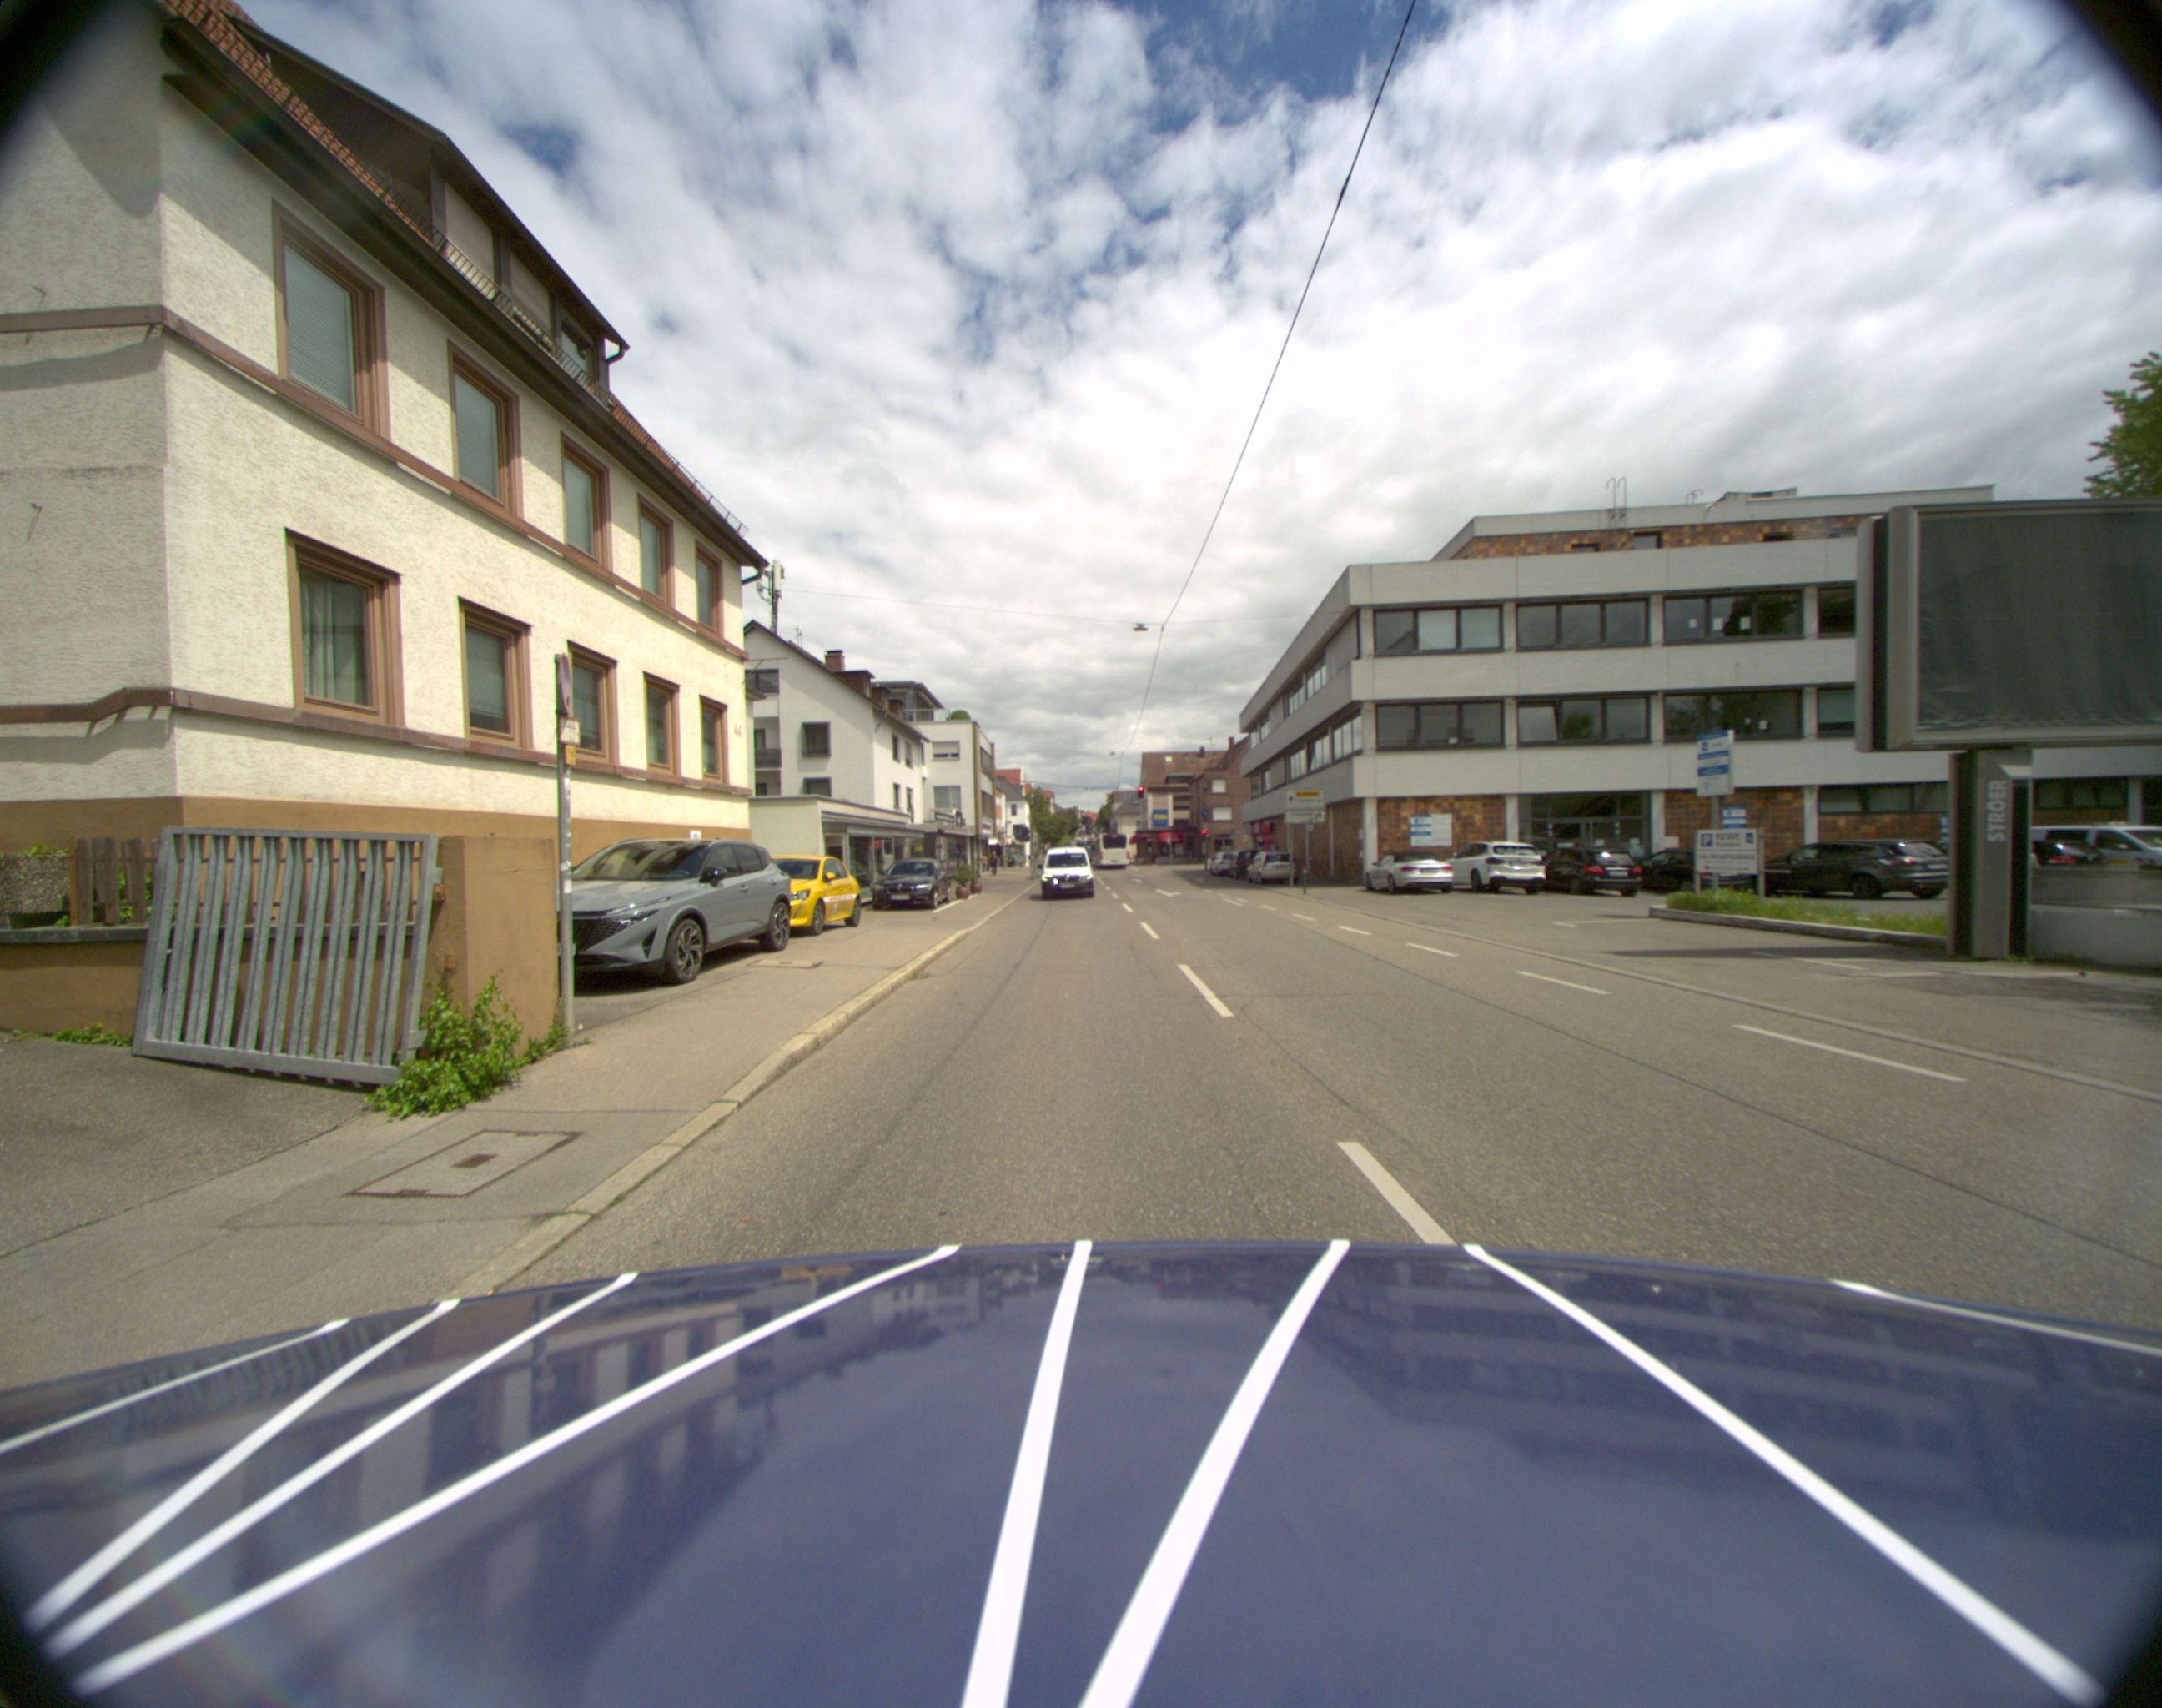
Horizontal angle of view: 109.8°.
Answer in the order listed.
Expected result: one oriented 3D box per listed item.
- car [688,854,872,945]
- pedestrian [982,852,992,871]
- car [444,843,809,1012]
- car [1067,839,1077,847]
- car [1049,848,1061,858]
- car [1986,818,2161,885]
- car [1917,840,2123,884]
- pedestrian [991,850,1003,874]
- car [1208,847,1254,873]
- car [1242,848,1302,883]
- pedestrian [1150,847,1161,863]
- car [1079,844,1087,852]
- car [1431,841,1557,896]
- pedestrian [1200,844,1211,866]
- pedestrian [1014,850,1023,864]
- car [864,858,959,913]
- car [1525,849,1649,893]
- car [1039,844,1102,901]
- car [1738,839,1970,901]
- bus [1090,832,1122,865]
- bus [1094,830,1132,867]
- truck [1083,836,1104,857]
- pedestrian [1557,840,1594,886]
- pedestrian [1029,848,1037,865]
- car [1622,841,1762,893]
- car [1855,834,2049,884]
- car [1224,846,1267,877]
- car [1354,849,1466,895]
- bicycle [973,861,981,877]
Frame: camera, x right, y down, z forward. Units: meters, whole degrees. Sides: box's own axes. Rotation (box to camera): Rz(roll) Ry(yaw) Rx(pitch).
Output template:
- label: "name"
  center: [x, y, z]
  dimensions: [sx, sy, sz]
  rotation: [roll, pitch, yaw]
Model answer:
- label: "car"
  center: [-5.405, 0.794, 14.316]
  dimensions: [1.882, 1.438, 4.307]
  rotation: [-1, -2, -2]
- label: "pedestrian"
  center: [-7.471, 0.561, 60.479]
  dimensions: [0.681, 1.490, 0.720]
  rotation: [-1, 1, 0]
- label: "car"
  center: [-5.143, 0.695, 9.527]
  dimensions: [1.865, 1.602, 4.585]
  rotation: [0, 0, -1]
- label: "car"
  center: [-2.142, -2.637, 181.005]
  dimensions: [2.150, 1.747, 3.973]
  rotation: [-1, 0, 0]
- label: "car"
  center: [-4.522, -0.140, 135.178]
  dimensions: [1.999, 1.654, 3.999]
  rotation: [-1, 0, 0]
- label: "car"
  center: [32.446, -0.115, 24.014]
  dimensions: [1.972, 1.930, 5.090]
  rotation: [-1, 0, 6]
- label: "car"
  center: [29.819, 0.222, 24.357]
  dimensions: [1.850, 1.287, 4.001]
  rotation: [-1, 0, 5]
- label: "pedestrian"
  center: [-6.000, 0.558, 54.373]
  dimensions: [0.797, 1.661, 0.807]
  rotation: [0, 1, -1]
- label: "car"
  center: [9.139, 0.358, 46.728]
  dimensions: [2.049, 1.436, 4.953]
  rotation: [-2, 0, 3]
- label: "car"
  center: [8.620, 0.493, 34.627]
  dimensions: [1.726, 1.414, 4.148]
  rotation: [-2, 0, 1]
- label: "pedestrian"
  center: [8.150, 0.081, 82.894]
  dimensions: [0.908, 1.713, 0.849]
  rotation: [-1, 1, -42]
- label: "car"
  center: [0.410, -1.252, 164.037]
  dimensions: [1.681, 1.626, 2.833]
  rotation: [-1, 1, -2]
- label: "car"
  center: [13.549, 0.424, 25.328]
  dimensions: [1.955, 1.610, 4.931]
  rotation: [1, 0, 6]
- label: "pedestrian"
  center: [9.783, 0.088, 59.575]
  dimensions: [0.719, 1.635, 0.682]
  rotation: [-2, 1, 5]
- label: "pedestrian"
  center: [-6.677, 0.339, 81.199]
  dimensions: [0.779, 1.517, 0.819]
  rotation: [-1, 1, 2]
- label: "car"
  center: [-4.950, 0.863, 22.827]
  dimensions: [1.973, 1.439, 4.534]
  rotation: [-1, 0, -2]
- label: "car"
  center: [16.390, 0.510, 24.829]
  dimensions: [1.767, 1.323, 3.605]
  rotation: [-1, 0, 2]
- label: "car"
  center: [-0.440, 0.600, 27.614]
  dimensions: [2.000, 1.797, 4.764]
  rotation: [-2, 1, -2]
- label: "car"
  center: [21.817, 0.418, 21.765]
  dimensions: [1.927, 1.569, 4.494]
  rotation: [-1, 0, -3]
- label: "bus"
  center: [2.545, -0.566, 79.385]
  dimensions: [2.689, 3.145, 10.181]
  rotation: [-1, 1, -2]
- label: "bus"
  center: [2.871, -0.516, 70.267]
  dimensions: [2.723, 3.145, 8.065]
  rotation: [-1, 1, -3]
- label: "truck"
  center: [1.899, -1.190, 121.865]
  dimensions: [2.861, 3.075, 8.086]
  rotation: [-1, 1, -3]
- label: "pedestrian"
  center: [17.984, 0.322, 27.671]
  dimensions: [0.719, 1.662, 0.995]
  rotation: [1, 1, 5]
- label: "pedestrian"
  center: [-5.158, 0.268, 82.039]
  dimensions: [0.581, 1.820, 0.882]
  rotation: [0, 1, 16]
- label: "car"
  center: [19.760, 0.386, 24.781]
  dimensions: [1.767, 1.537, 3.605]
  rotation: [-1, 0, 2]
- label: "car"
  center: [27.707, 0.139, 24.402]
  dimensions: [1.850, 1.453, 4.001]
  rotation: [-1, 0, 5]
- label: "car"
  center: [8.841, 0.380, 40.965]
  dimensions: [1.740, 1.547, 3.057]
  rotation: [-2, 0, 3]
- label: "car"
  center: [10.923, 0.535, 25.632]
  dimensions: [1.955, 1.350, 4.856]
  rotation: [-1, 0, 4]
- label: "bicycle"
  center: [-6.654, 0.942, 48.586]
  dimensions: [0.476, 1.022, 1.634]
  rotation: [-1, 0, -9]
